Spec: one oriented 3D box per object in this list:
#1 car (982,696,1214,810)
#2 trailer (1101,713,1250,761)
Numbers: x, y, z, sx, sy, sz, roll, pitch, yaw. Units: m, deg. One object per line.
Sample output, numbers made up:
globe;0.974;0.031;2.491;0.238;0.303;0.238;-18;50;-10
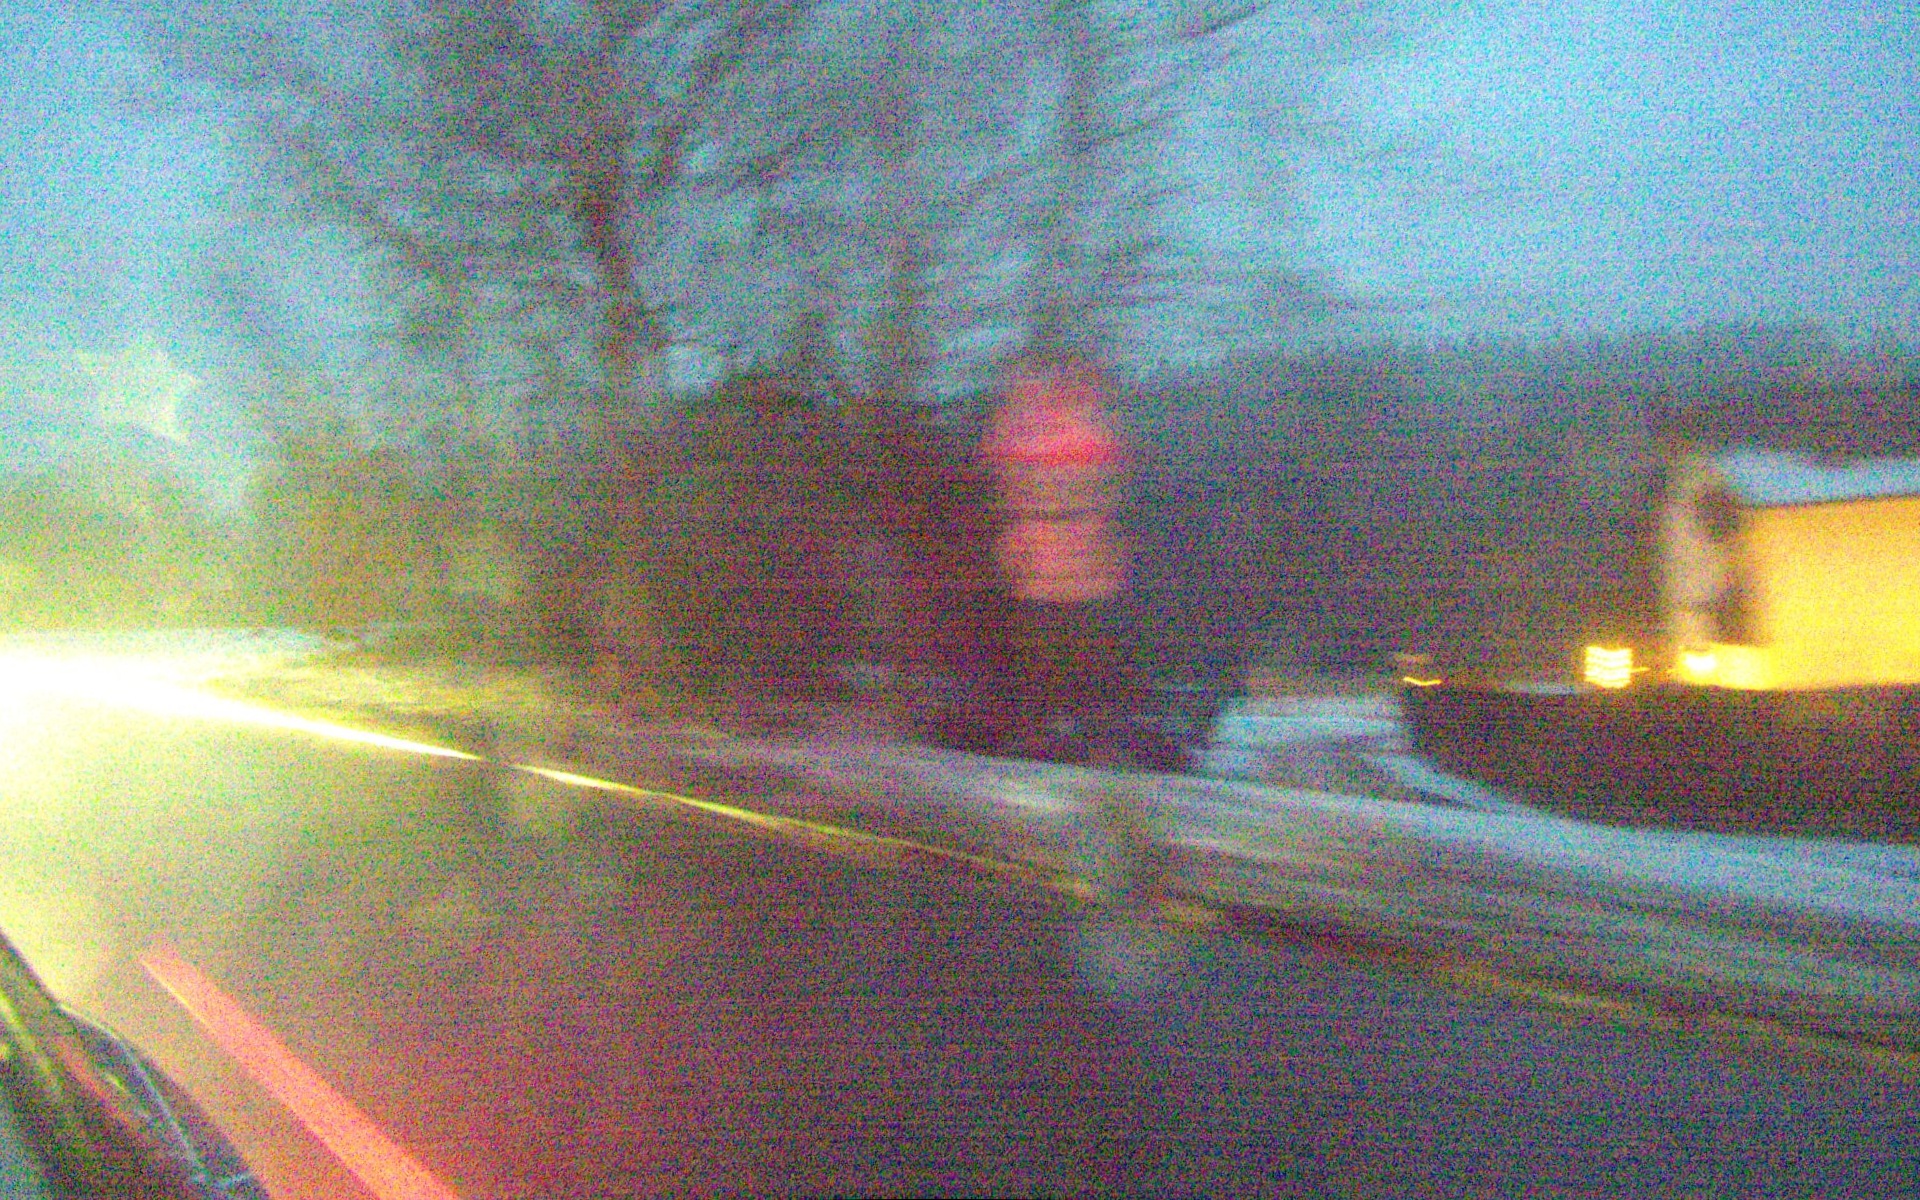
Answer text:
car;2.569;2.761;18.549;3.963;1.844;1.966;-3;-4;16
trailer;5.599;3.540;26.310;3.366;1.087;1.753;-5;-5;32
